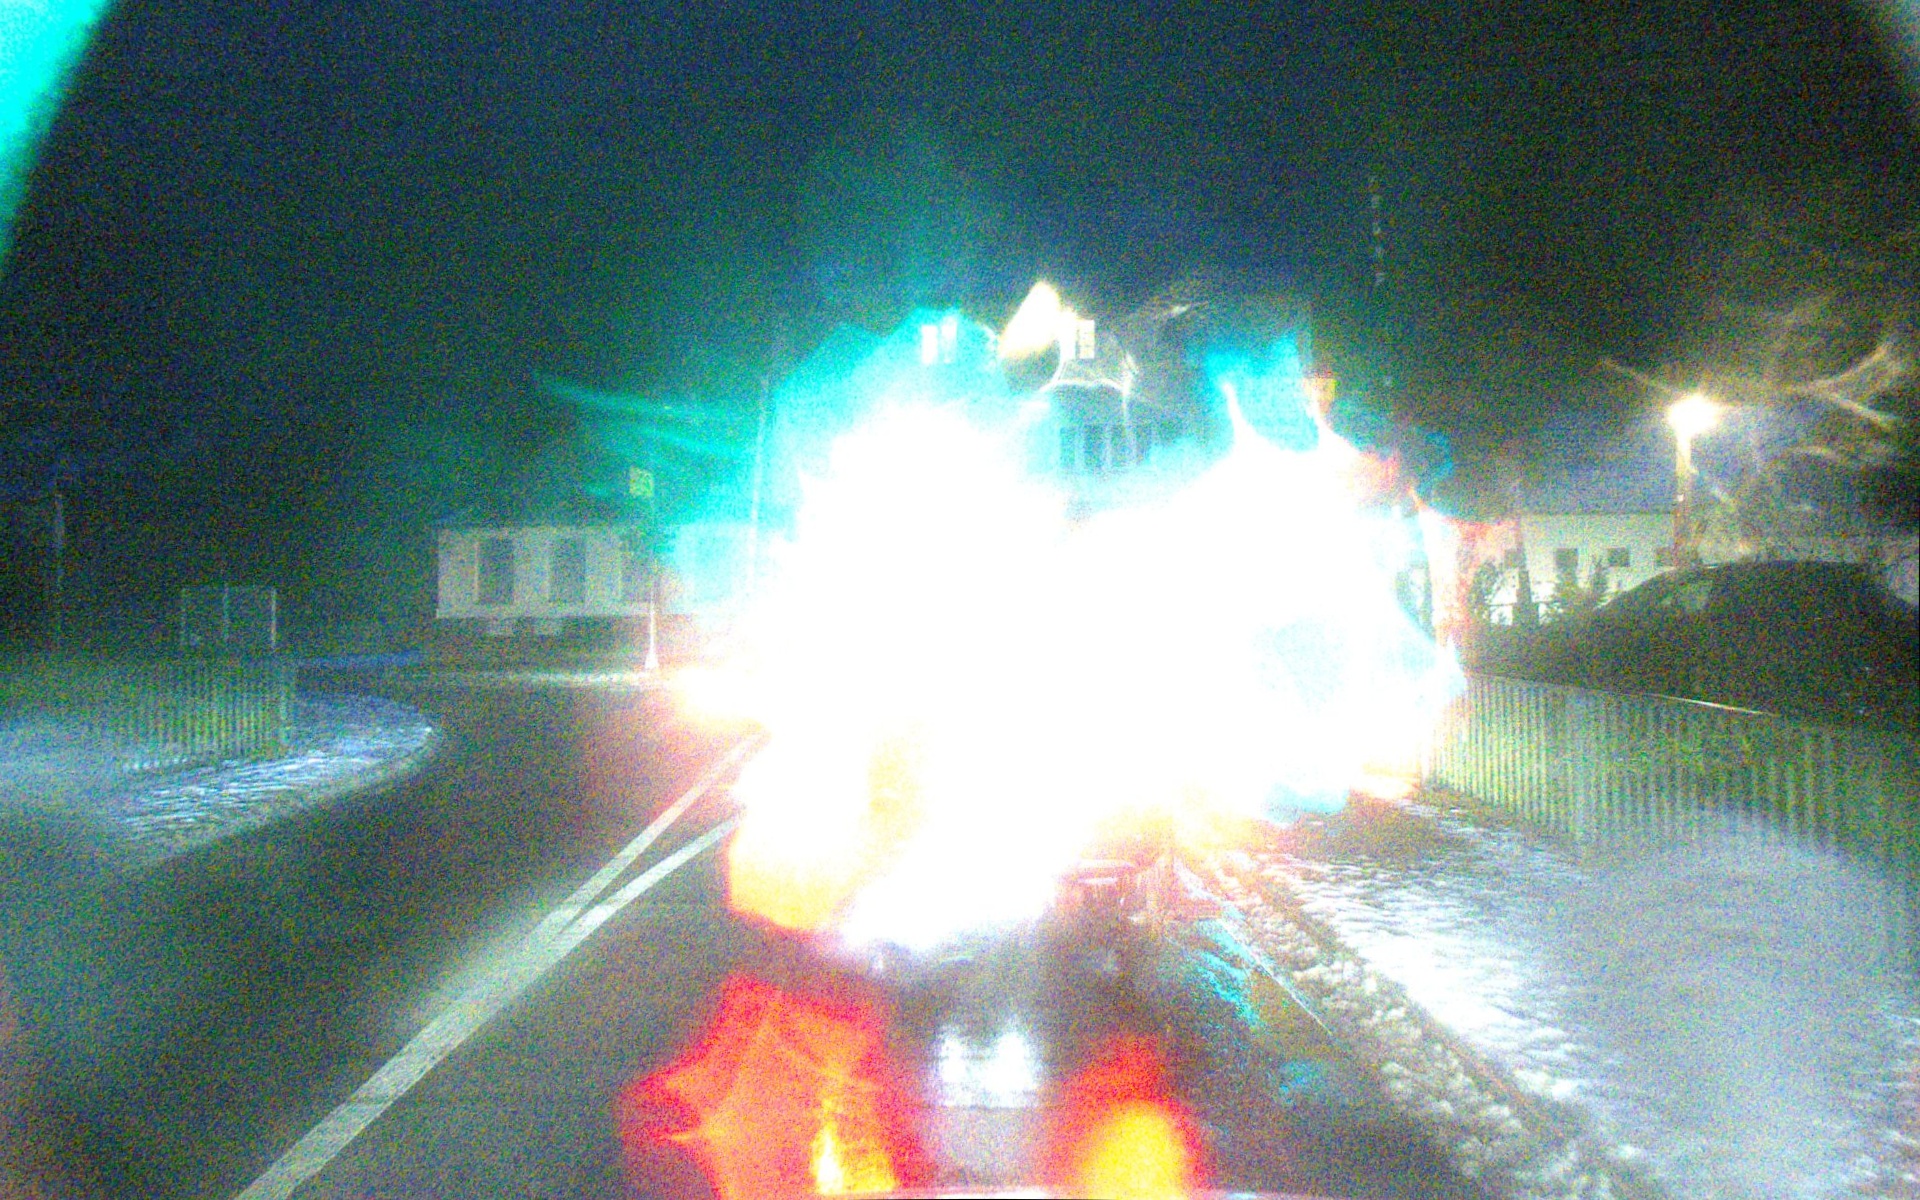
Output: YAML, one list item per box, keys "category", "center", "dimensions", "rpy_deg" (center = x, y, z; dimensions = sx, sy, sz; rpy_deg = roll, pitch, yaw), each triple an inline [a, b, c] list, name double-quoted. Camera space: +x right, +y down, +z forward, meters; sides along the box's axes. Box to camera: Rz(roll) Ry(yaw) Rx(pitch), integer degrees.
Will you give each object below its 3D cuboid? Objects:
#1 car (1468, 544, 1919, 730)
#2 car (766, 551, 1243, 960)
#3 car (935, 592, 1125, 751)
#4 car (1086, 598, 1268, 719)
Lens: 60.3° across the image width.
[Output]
- category: "car"
  center: [7.629, 0.349, 16.928]
  dimensions: [4.372, 1.613, 1.941]
  rpy_deg: [-3, 0, 10]
- category: "car"
  center: [0.162, 0.685, 9.202]
  dimensions: [2.016, 1.707, 4.138]
  rpy_deg: [2, 0, -1]
- category: "car"
  center: [0.743, 0.704, 18.660]
  dimensions: [1.870, 1.537, 4.241]
  rpy_deg: [1, 0, 1]
- category: "car"
  center: [4.149, 1.043, 31.014]
  dimensions: [1.739, 1.981, 4.244]
  rpy_deg: [4, 1, 31]
